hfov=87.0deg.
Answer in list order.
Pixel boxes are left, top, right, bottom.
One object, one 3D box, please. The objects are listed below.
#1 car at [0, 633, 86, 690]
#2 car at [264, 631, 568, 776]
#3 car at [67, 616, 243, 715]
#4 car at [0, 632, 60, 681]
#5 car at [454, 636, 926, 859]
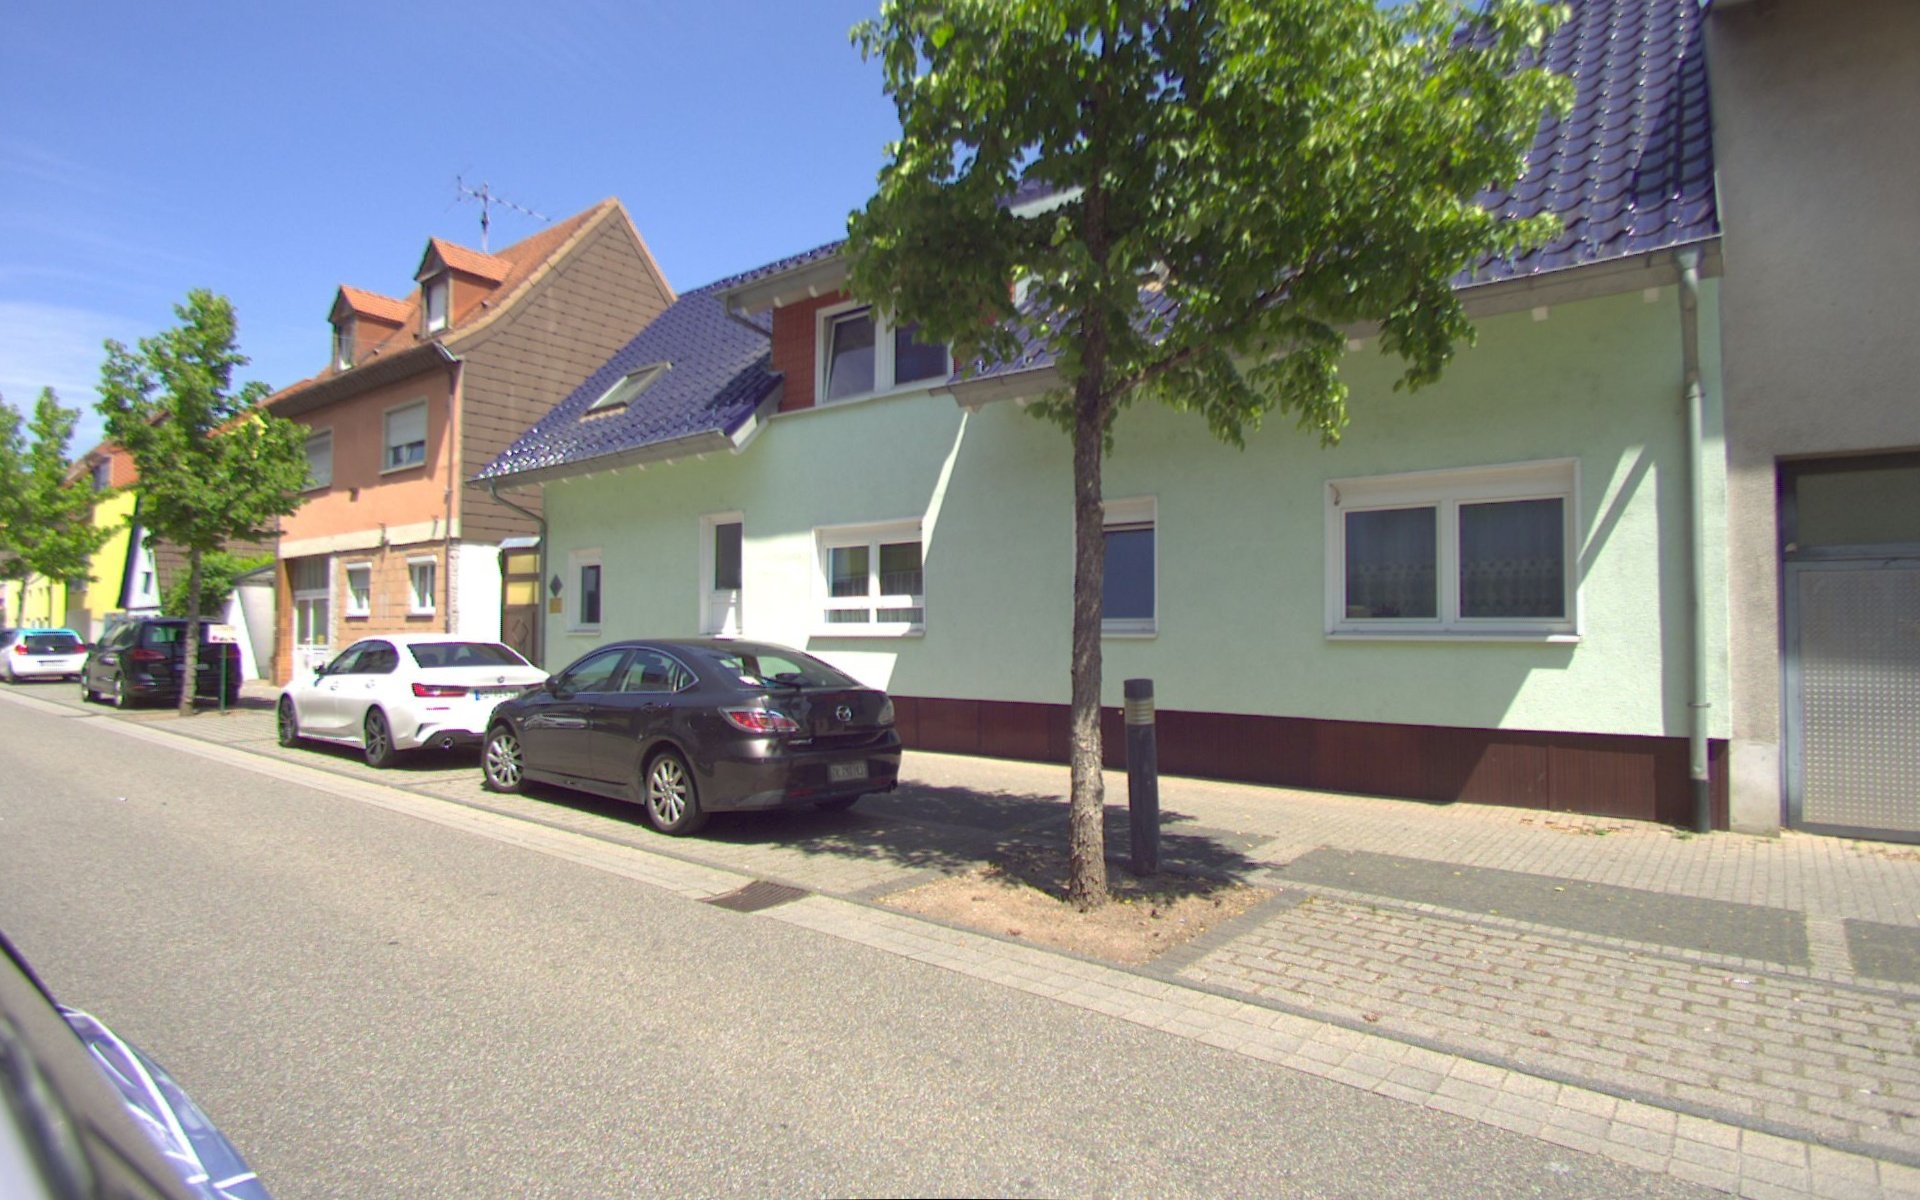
[{"bbox_3d":[-25.066,1.615,27.428,3.406,1.441,1.538,-2,-3,40],"label":"car"},{"bbox_3d":[-6.694,1.121,12.242,4.456,1.448,1.702,-2,-3,40],"label":"car"},{"bbox_3d":[-15.940,1.237,19.958,4.515,1.739,1.758,-2,-3,39],"label":"car"},{"bbox_3d":[-29.607,1.736,31.568,4.095,1.441,1.629,-2,-4,40],"label":"car"},{"bbox_3d":[-2.517,1.039,8.732,4.535,1.448,1.644,-2,-3,40],"label":"car"}]
